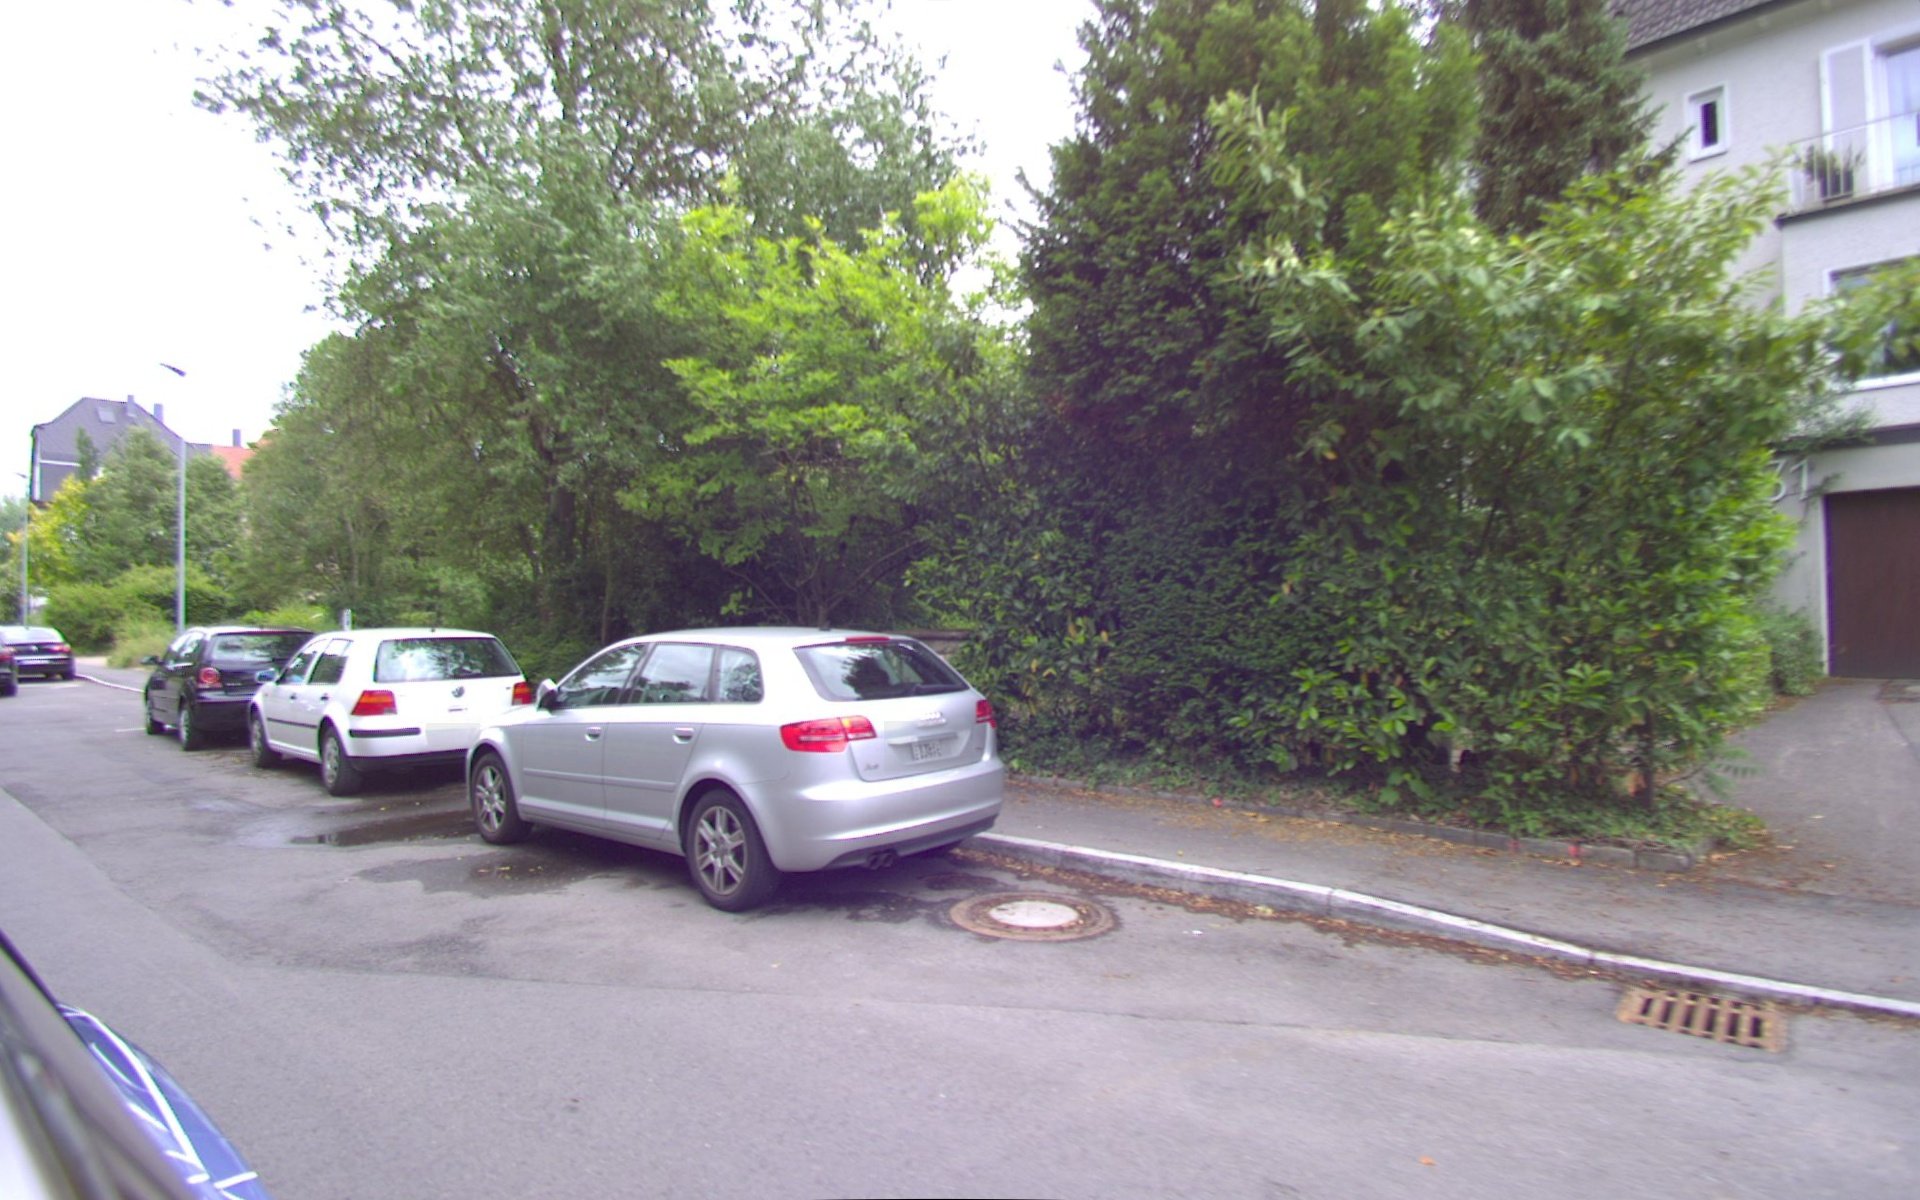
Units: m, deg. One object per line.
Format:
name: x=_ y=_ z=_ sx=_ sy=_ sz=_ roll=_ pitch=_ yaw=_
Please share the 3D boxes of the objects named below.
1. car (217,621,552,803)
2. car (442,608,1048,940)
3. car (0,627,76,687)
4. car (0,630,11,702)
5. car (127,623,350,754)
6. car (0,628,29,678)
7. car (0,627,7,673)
car: x=-5.956 y=0.970 z=10.231 sx=4.380 sy=1.464 sz=1.642 roll=-2 pitch=-2 yaw=42
car: x=-1.577 y=0.819 z=6.421 sx=4.090 sy=1.461 sz=1.606 roll=-2 pitch=-2 yaw=40
car: x=-24.832 y=1.443 z=26.504 sx=5.101 sy=1.443 sz=1.760 roll=-2 pitch=-1 yaw=40
car: x=-21.390 y=1.372 z=21.153 sx=4.485 sy=1.437 sz=1.762 roll=-2 pitch=-1 yaw=40
car: x=-9.551 y=1.048 z=13.284 sx=3.969 sy=1.461 sz=1.605 roll=-2 pitch=-2 yaw=43
car: x=-29.752 y=1.585 z=30.727 sx=4.347 sy=1.443 sz=1.607 roll=-2 pitch=-2 yaw=40
car: x=-33.396 y=1.658 z=33.990 sx=3.998 sy=1.494 sz=1.607 roll=-2 pitch=-2 yaw=41
